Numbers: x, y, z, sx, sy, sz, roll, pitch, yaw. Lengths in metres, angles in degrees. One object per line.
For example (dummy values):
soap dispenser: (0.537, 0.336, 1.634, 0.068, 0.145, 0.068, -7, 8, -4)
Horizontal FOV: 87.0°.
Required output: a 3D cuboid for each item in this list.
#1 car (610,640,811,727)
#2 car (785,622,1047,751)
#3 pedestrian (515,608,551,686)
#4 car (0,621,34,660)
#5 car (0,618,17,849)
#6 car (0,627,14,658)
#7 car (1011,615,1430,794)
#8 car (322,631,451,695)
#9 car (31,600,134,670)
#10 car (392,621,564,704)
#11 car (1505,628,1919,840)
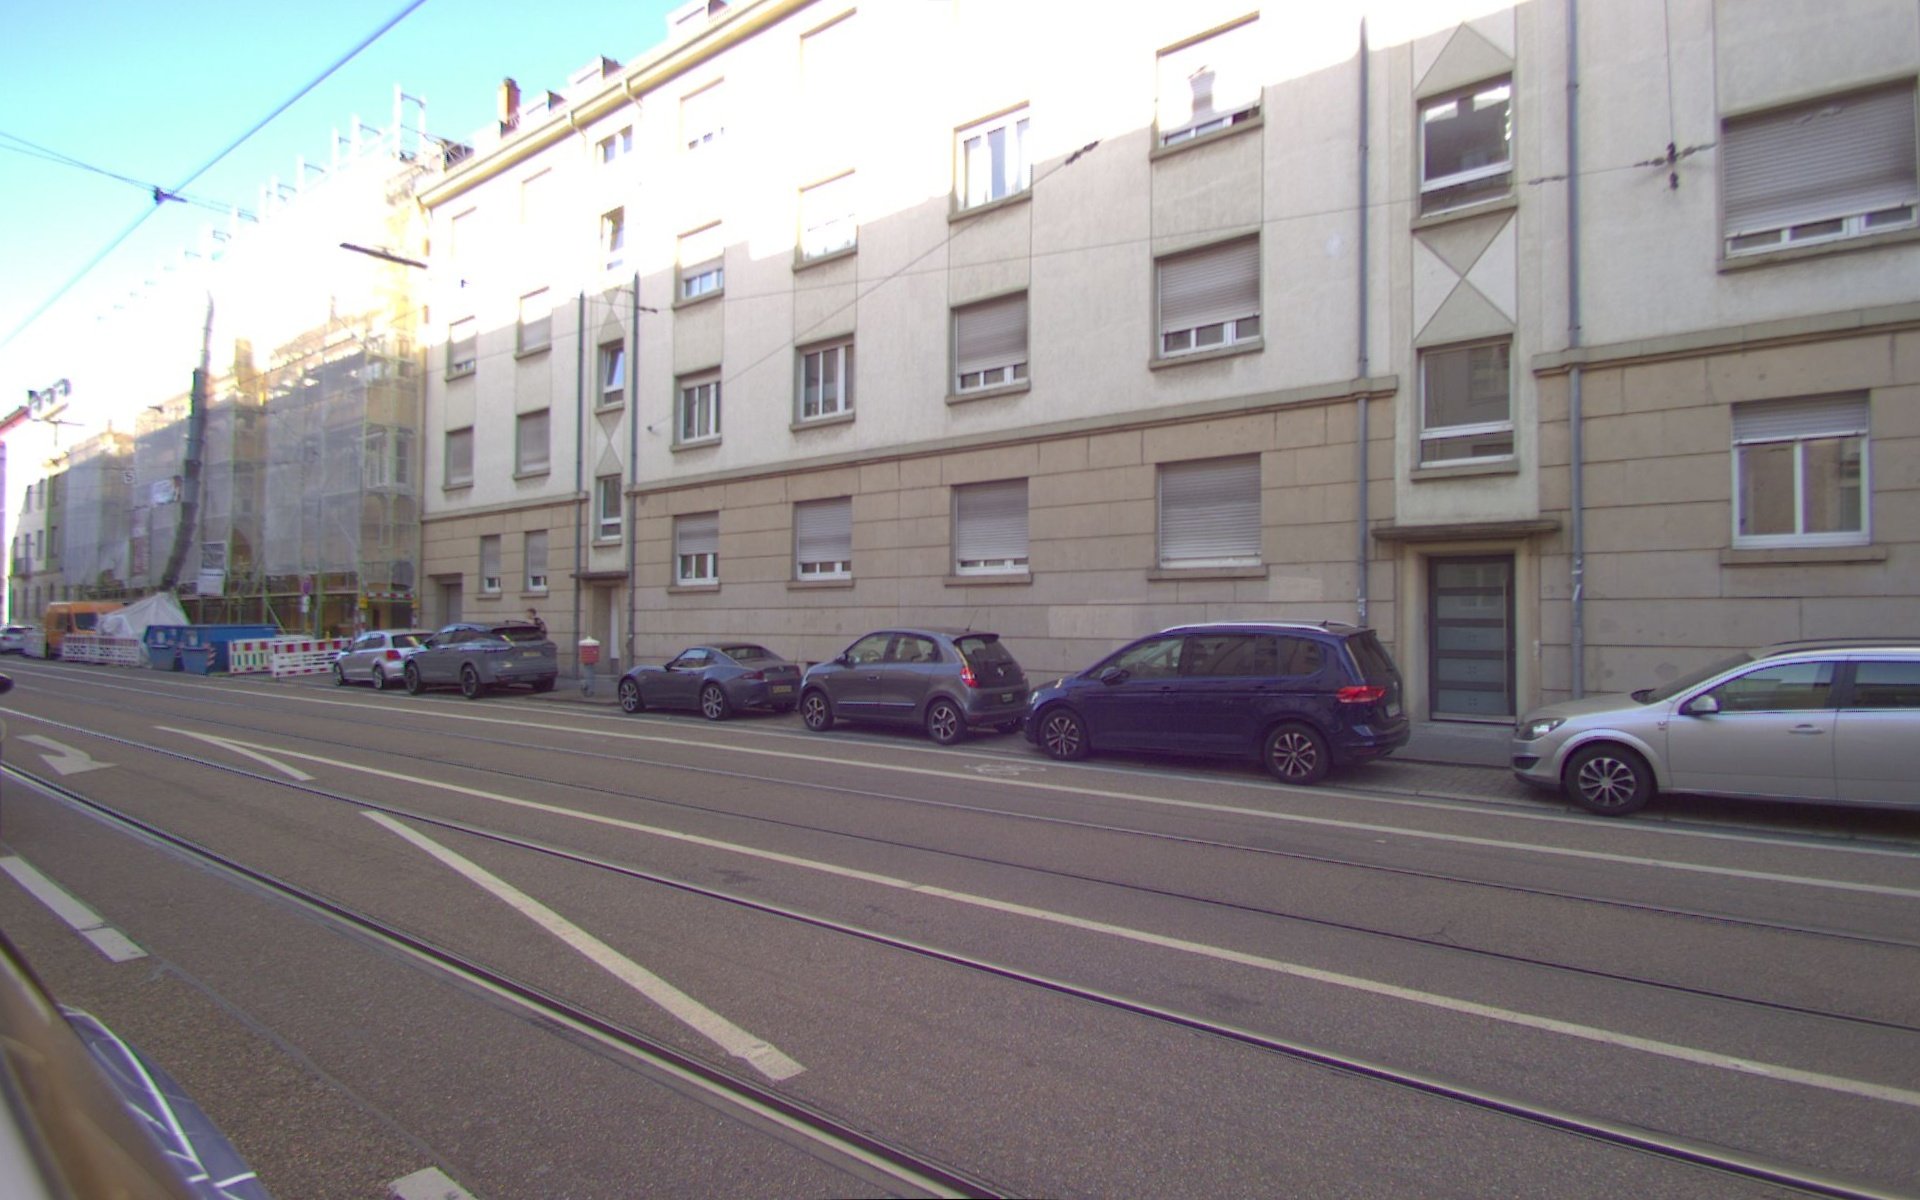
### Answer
car: (-4.350, 1.374, 17.450, 3.518, 1.229, 1.458, -1, 1, 37)
car: (-0.699, 1.143, 14.634, 3.591, 1.570, 1.624, -1, 1, 38)
pedestrian: (-10.633, 1.154, 25.218, 0.762, 1.886, 0.513, -1, 0, 38)
car: (-50.010, 2.089, 53.321, 1.635, 1.937, 3.767, -1, 0, -44)
car: (-7.954, 0.874, 6.948, 3.814, 1.436, 1.706, -2, -3, 40)
car: (-54.698, 2.402, 56.987, 3.932, 1.696, 1.550, -1, 0, 39)
car: (2.879, 1.031, 11.654, 4.318, 1.645, 1.798, -1, 1, 37)
car: (-14.428, 1.525, 25.422, 3.502, 1.390, 1.546, -1, 1, 37)
car: (-36.465, 1.394, 41.999, 5.866, 2.717, 2.188, -1, 0, 39)
car: (-10.832, 1.310, 22.629, 4.152, 1.621, 1.731, -1, 1, 37)
car: (7.123, 1.014, 8.409, 4.363, 1.465, 1.709, -1, 1, 37)
